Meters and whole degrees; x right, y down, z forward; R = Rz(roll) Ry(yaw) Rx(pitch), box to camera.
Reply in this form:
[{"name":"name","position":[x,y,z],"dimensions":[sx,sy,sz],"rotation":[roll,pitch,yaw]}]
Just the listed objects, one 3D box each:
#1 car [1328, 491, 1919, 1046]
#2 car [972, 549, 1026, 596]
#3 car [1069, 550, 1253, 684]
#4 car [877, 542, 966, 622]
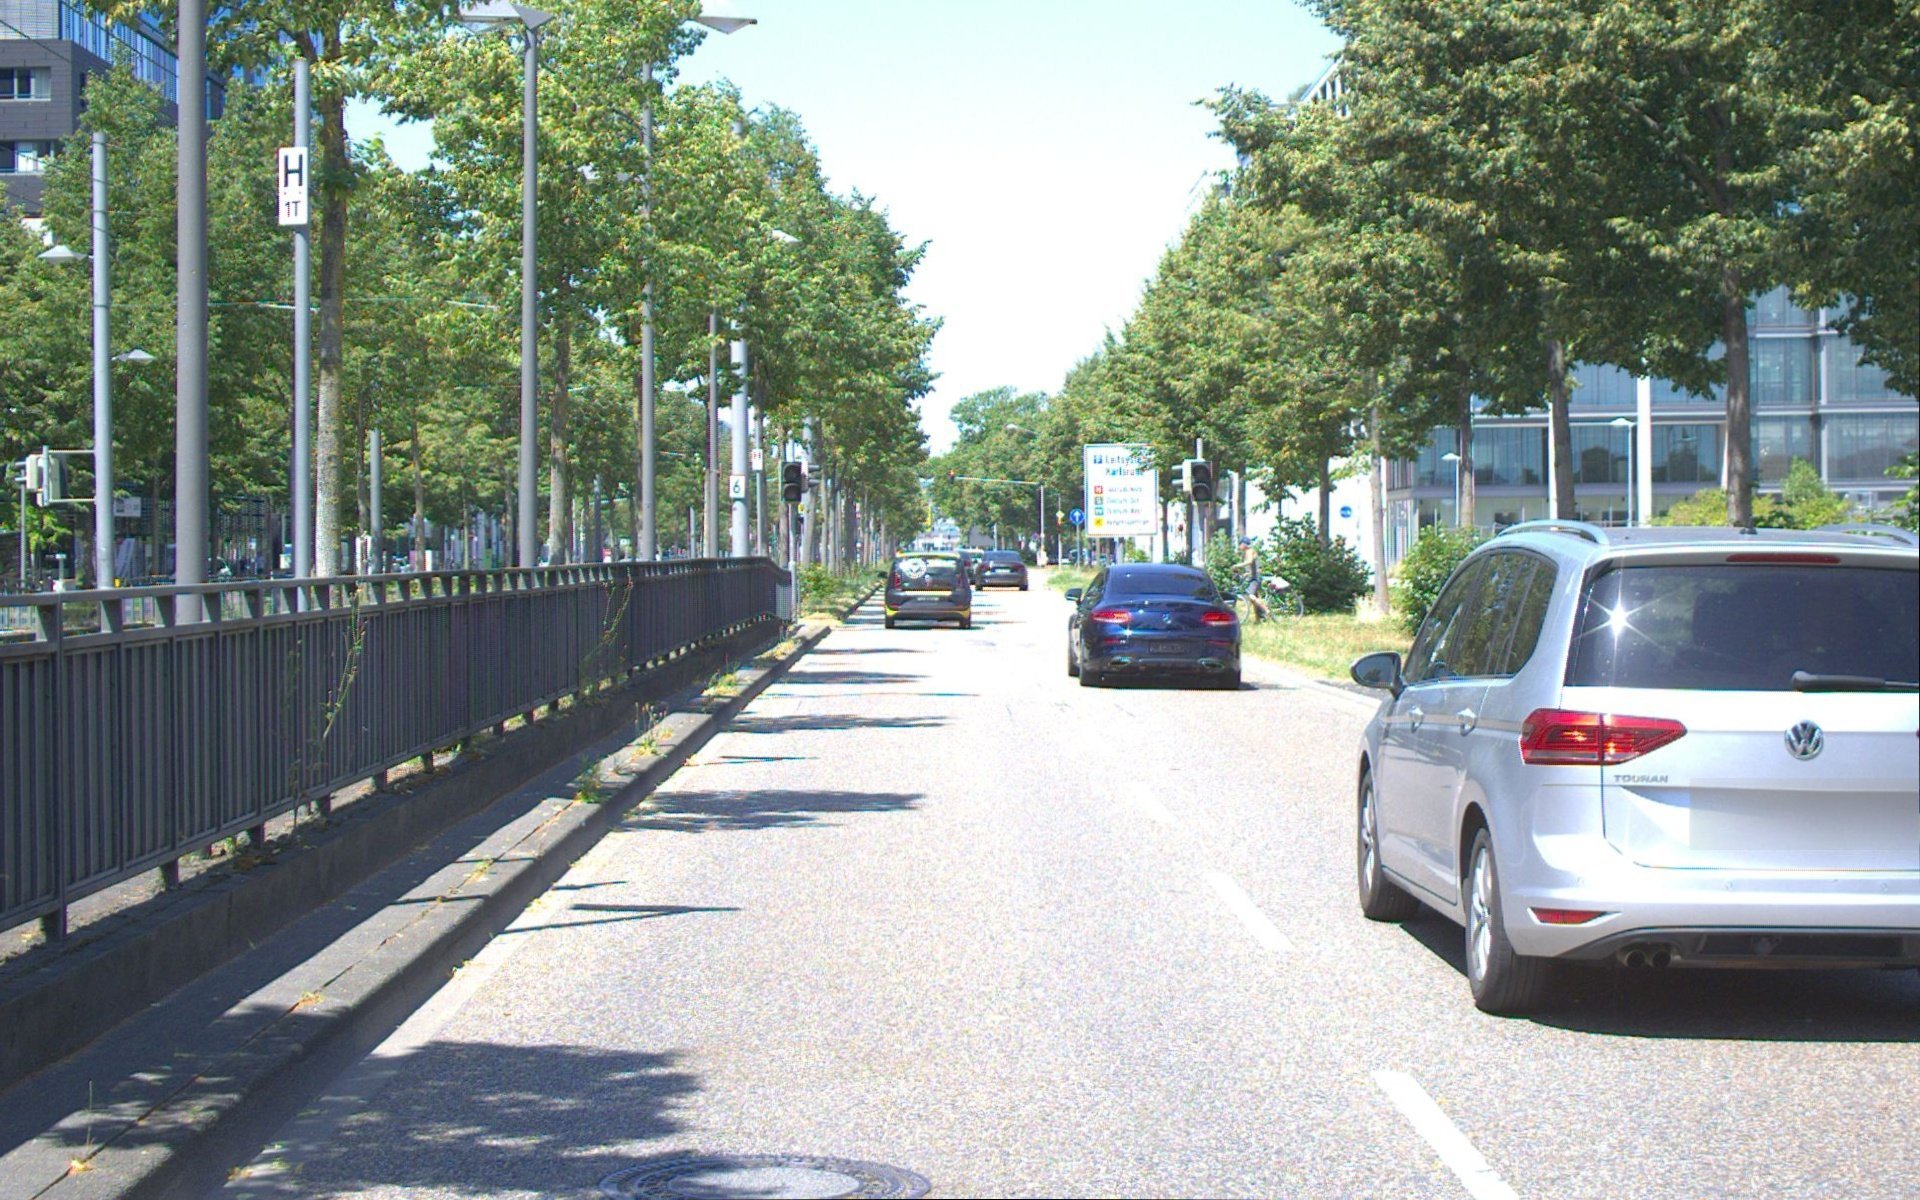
[{"name":"car","position":[2.545,0.529,12.788],"dimensions":[1.800,1.643,4.604],"rotation":[2,0,0]},{"name":"car","position":[1.386,-0.978,123.134],"dimensions":[1.766,1.621,3.716],"rotation":[-1,0,-2]},{"name":"car","position":[2.248,0.150,39.513],"dimensions":[1.852,1.431,4.955],"rotation":[0,1,0]},{"name":"car","position":[-0.752,-0.330,65.090],"dimensions":[1.618,1.446,3.986],"rotation":[-1,0,-1]}]
